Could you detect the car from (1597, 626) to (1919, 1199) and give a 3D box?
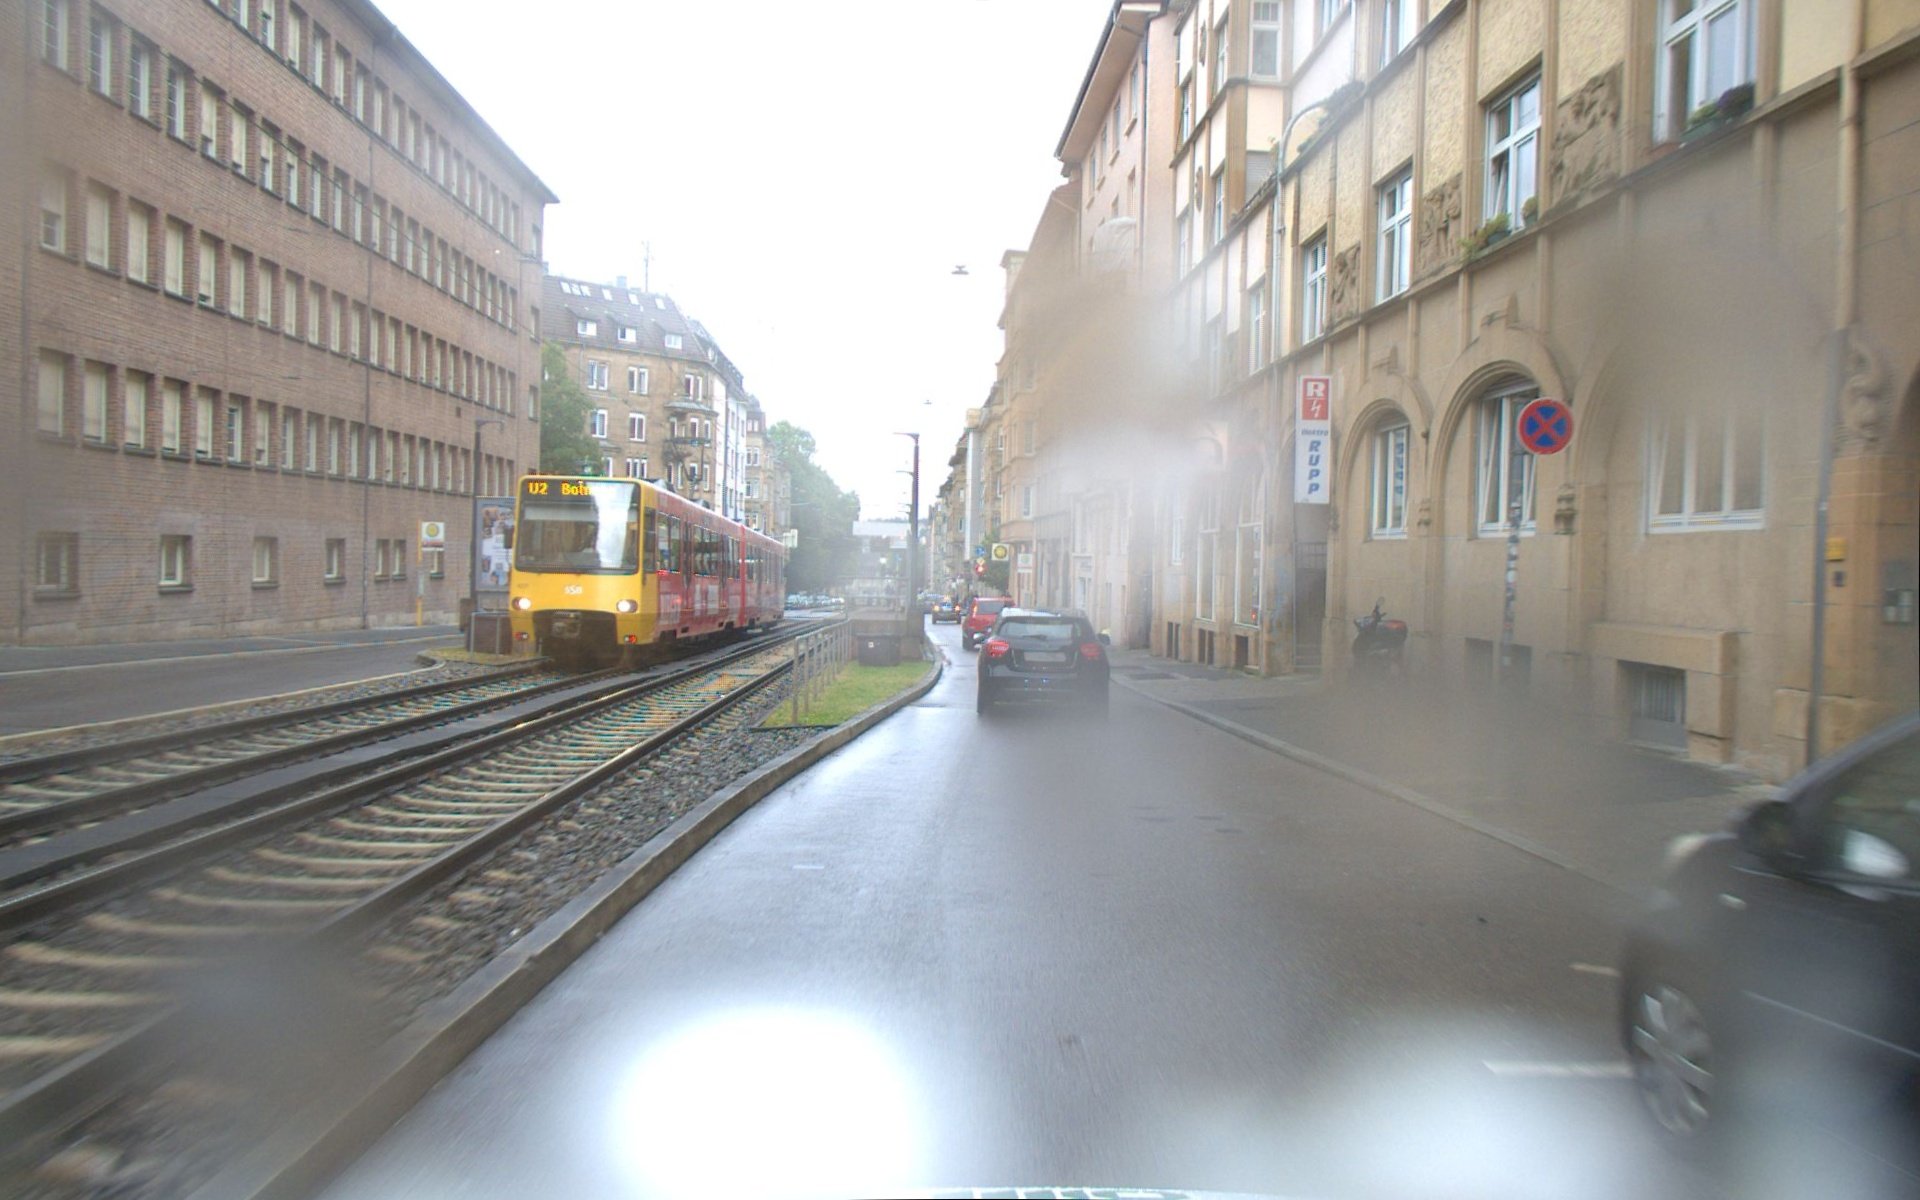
[{"bbox_3d":[2.896,0.823,3.597,1.560,1.465,3.307,2,-1,-4],"label":"car"}]

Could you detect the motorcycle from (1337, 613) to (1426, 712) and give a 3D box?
[{"bbox_3d":[5.556,0.801,21.934,0.545,1.180,2.269,-3,0,0],"label":"motorcycle"}]

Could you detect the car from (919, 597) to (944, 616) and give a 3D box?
[{"bbox_3d":[-2.491,0.534,142.595,2.091,1.552,4.244,1,0,-2],"label":"car"}]

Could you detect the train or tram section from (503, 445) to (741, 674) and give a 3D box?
[{"bbox_3d":[-7.265,-0.750,38.604,2.690,4.133,17.205,0,0,-2],"label":"train or tram section"}]

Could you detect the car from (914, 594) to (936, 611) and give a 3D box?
[{"bbox_3d":[-3.375,0.254,158.555,2.091,1.552,4.244,1,0,-2],"label":"car"}]

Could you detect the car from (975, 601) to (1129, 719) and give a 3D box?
[{"bbox_3d":[1.184,0.768,22.841,1.797,1.478,3.900,1,0,-2],"label":"car"}]

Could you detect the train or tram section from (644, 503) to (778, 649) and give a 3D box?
[{"bbox_3d":[-7.951,-0.693,54.934,2.690,4.133,15.653,0,0,-2],"label":"train or tram section"}]

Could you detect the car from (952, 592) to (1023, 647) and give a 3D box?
[{"bbox_3d":[0.785,0.573,49.891,1.953,1.552,4.244,1,0,-2],"label":"car"}]

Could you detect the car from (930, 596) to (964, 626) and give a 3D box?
[{"bbox_3d":[-0.705,0.608,91.874,1.848,1.552,4.245,1,0,0],"label":"car"}]
